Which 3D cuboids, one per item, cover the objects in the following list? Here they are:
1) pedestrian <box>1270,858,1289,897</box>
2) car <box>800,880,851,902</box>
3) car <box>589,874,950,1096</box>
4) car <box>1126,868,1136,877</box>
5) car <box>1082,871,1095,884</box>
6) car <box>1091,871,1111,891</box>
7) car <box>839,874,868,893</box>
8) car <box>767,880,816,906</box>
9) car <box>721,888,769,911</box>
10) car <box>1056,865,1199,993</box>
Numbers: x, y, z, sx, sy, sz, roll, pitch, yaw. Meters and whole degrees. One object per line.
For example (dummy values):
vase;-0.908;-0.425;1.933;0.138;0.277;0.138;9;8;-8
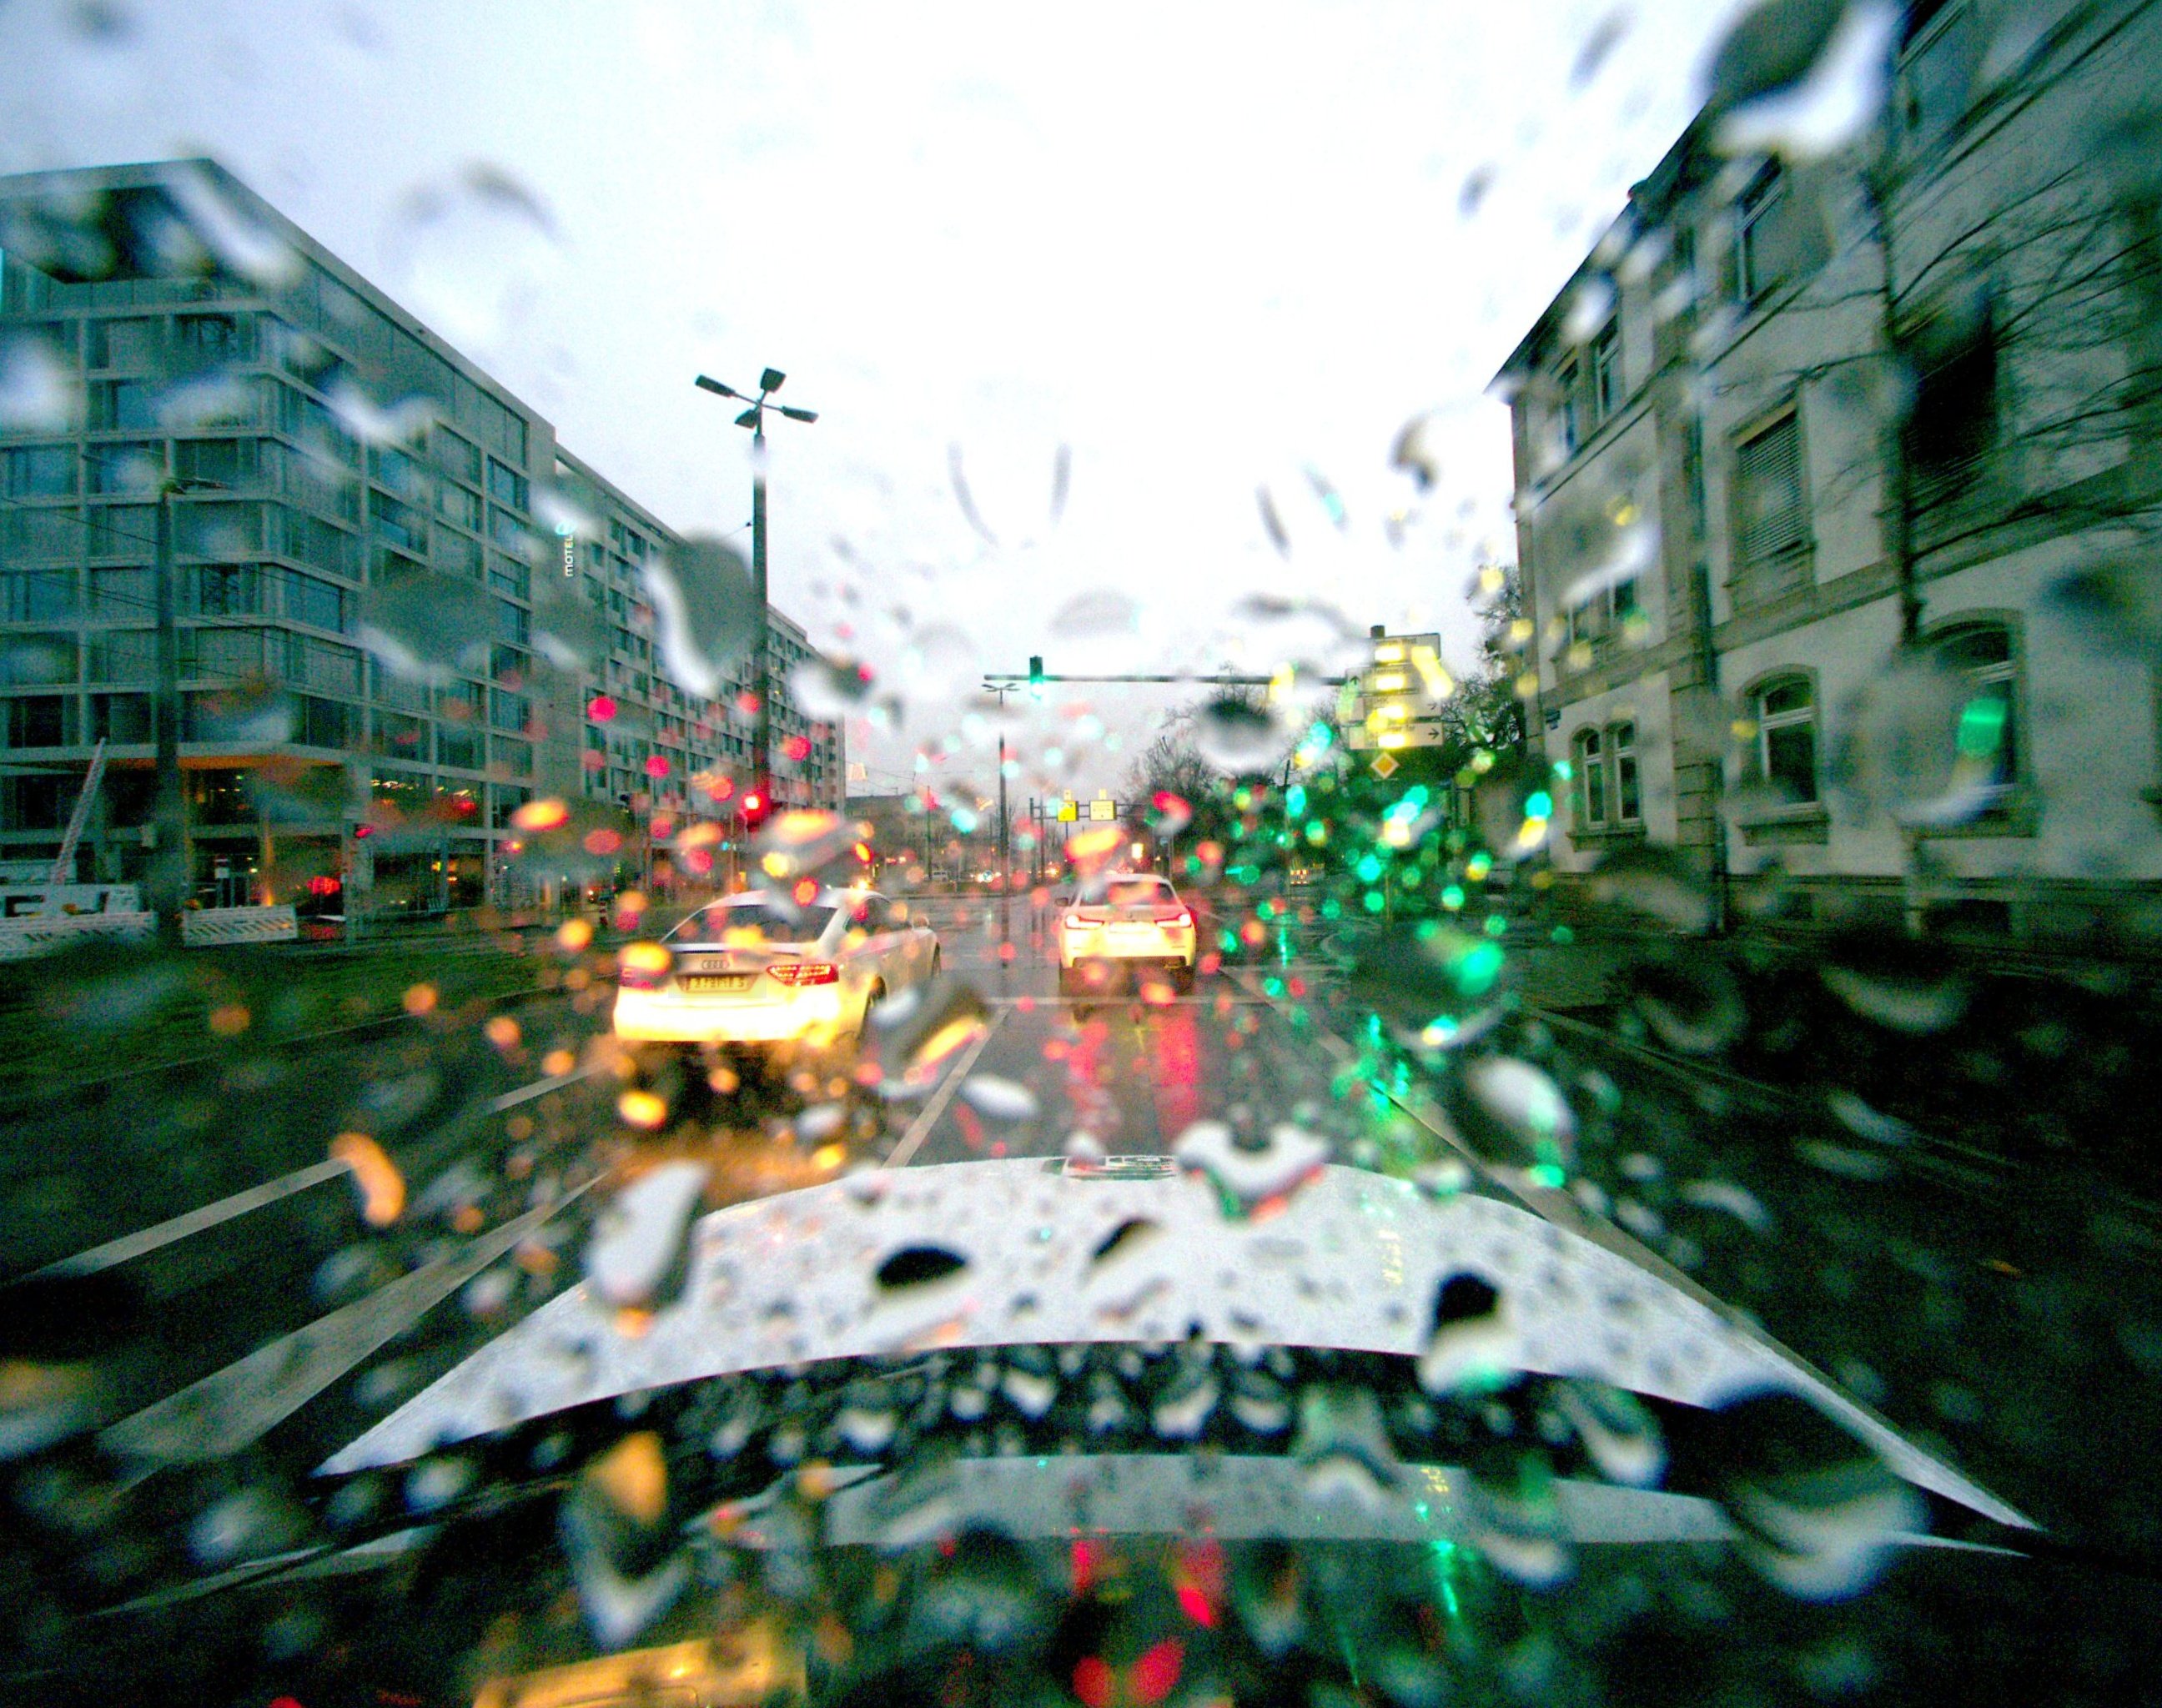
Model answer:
pedestrian;9.635;1.141;39.463;0.672;1.879;0.714;0;-2;-5
car;-18.637;2.651;59.615;1.986;1.462;5.096;-1;-1;2
car;-2.460;0.943;7.671;1.754;1.470;4.250;-1;-1;0
car;10.676;3.915;172.924;1.986;2.014;4.001;-1;-1;2
car;1.220;3.745;128.700;1.986;2.014;4.001;-1;-1;2
car;2.117;2.785;85.442;1.986;2.014;4.001;-1;-1;2
car;-18.506;2.378;66.490;1.995;1.462;5.072;0;-1;-12
car;-21.721;2.879;61.303;1.874;1.789;4.600;-1;-1;2
car;-25.356;3.428;61.581;1.875;1.574;4.000;-1;-1;1
car;0.571;0.976;12.193;1.754;1.553;4.250;-1;-1;0
